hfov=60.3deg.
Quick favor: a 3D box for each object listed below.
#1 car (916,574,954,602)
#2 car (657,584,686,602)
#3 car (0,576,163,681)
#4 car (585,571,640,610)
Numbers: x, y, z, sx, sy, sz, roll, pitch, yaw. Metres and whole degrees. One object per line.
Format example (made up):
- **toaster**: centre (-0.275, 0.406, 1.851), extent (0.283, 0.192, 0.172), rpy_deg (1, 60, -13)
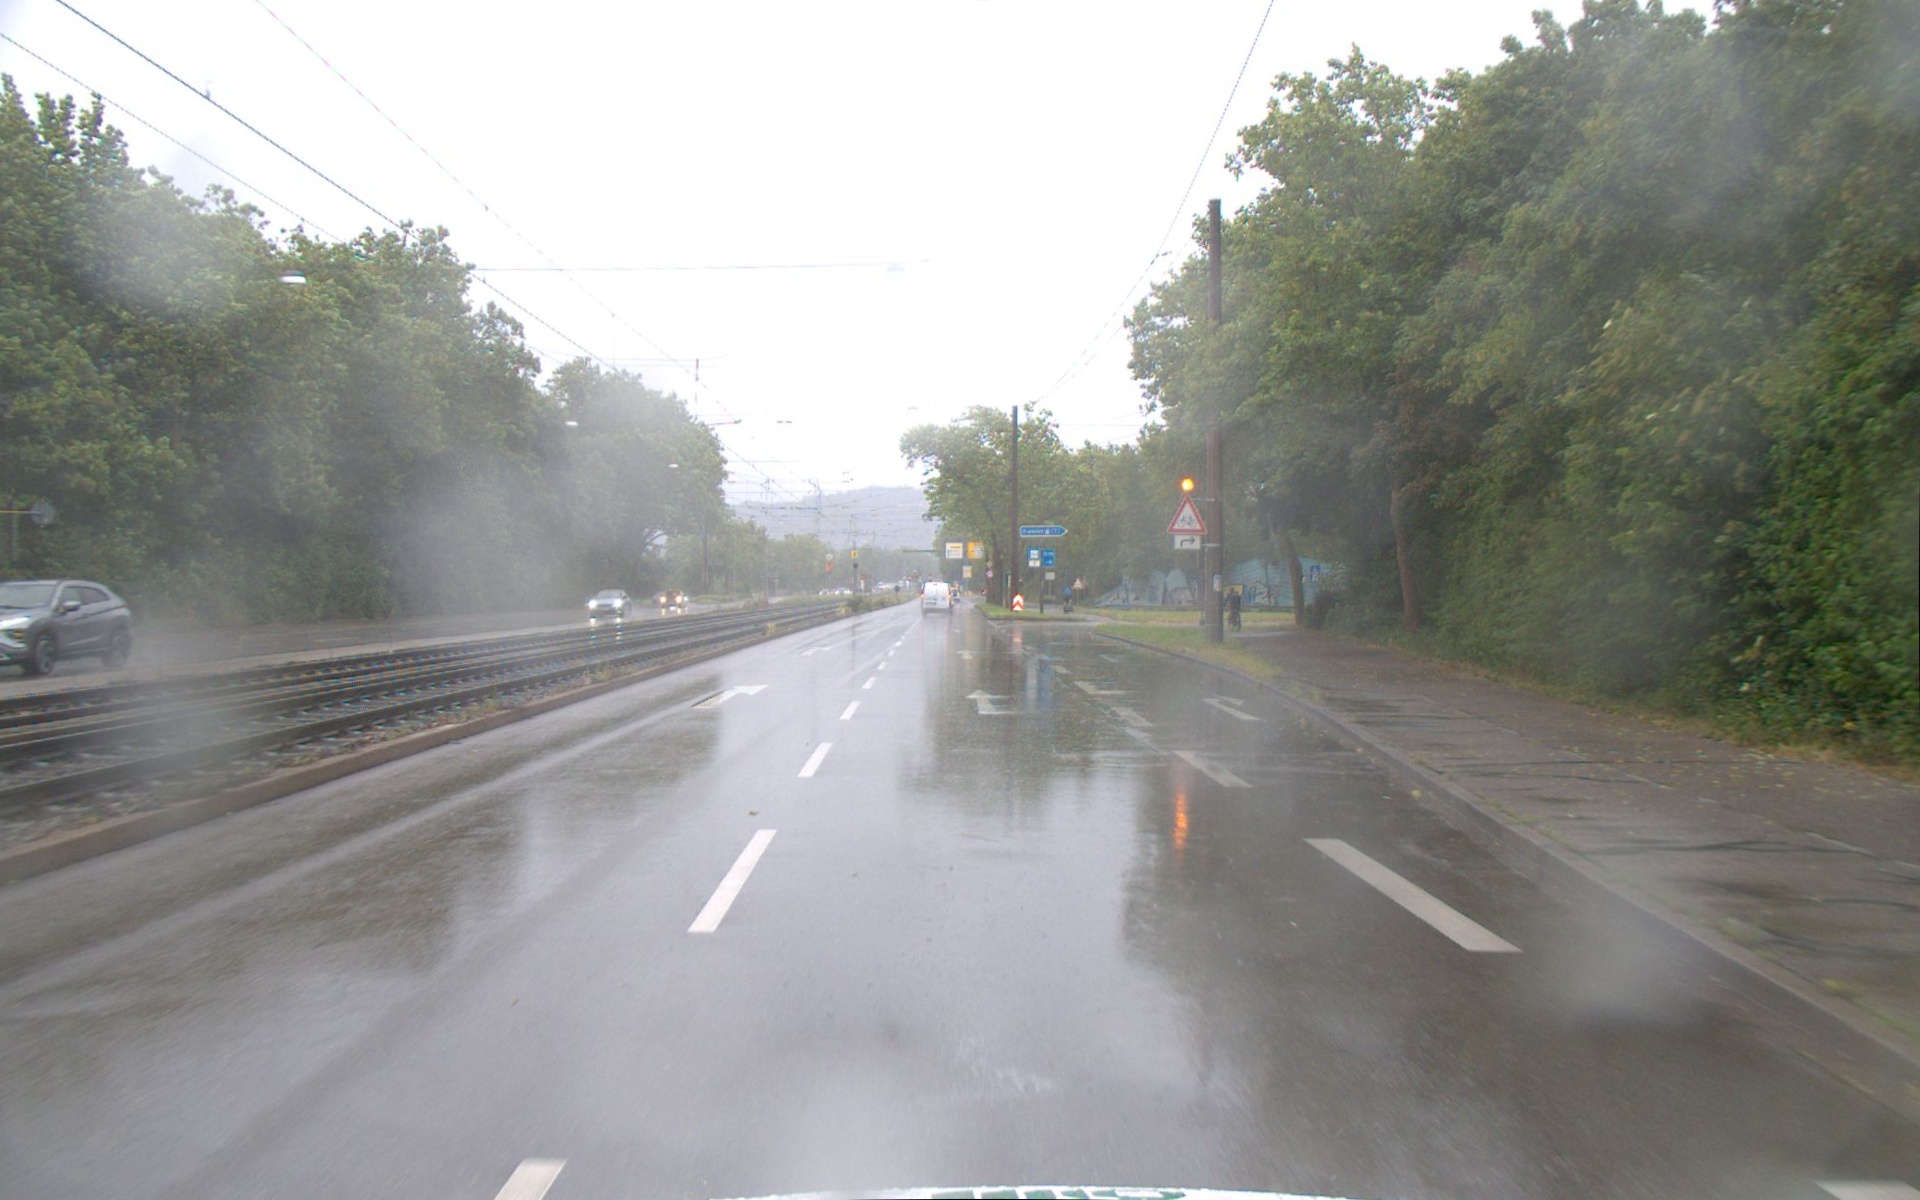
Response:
- **car**: centre (-1.348, -0.665, 89.523), extent (2.035, 1.445, 3.999), rpy_deg (-1, 0, -1)
- **car**: centre (-23.186, -0.572, 133.131), extent (1.736, 1.353, 4.379), rpy_deg (0, 1, -2)
- **car**: centre (-16.406, 0.437, 29.686), extent (1.953, 1.701, 4.871), rpy_deg (0, 1, -2)
- **car**: centre (-18.114, -0.529, 86.323), extent (1.954, 1.813, 3.999), rpy_deg (5, 1, -2)
